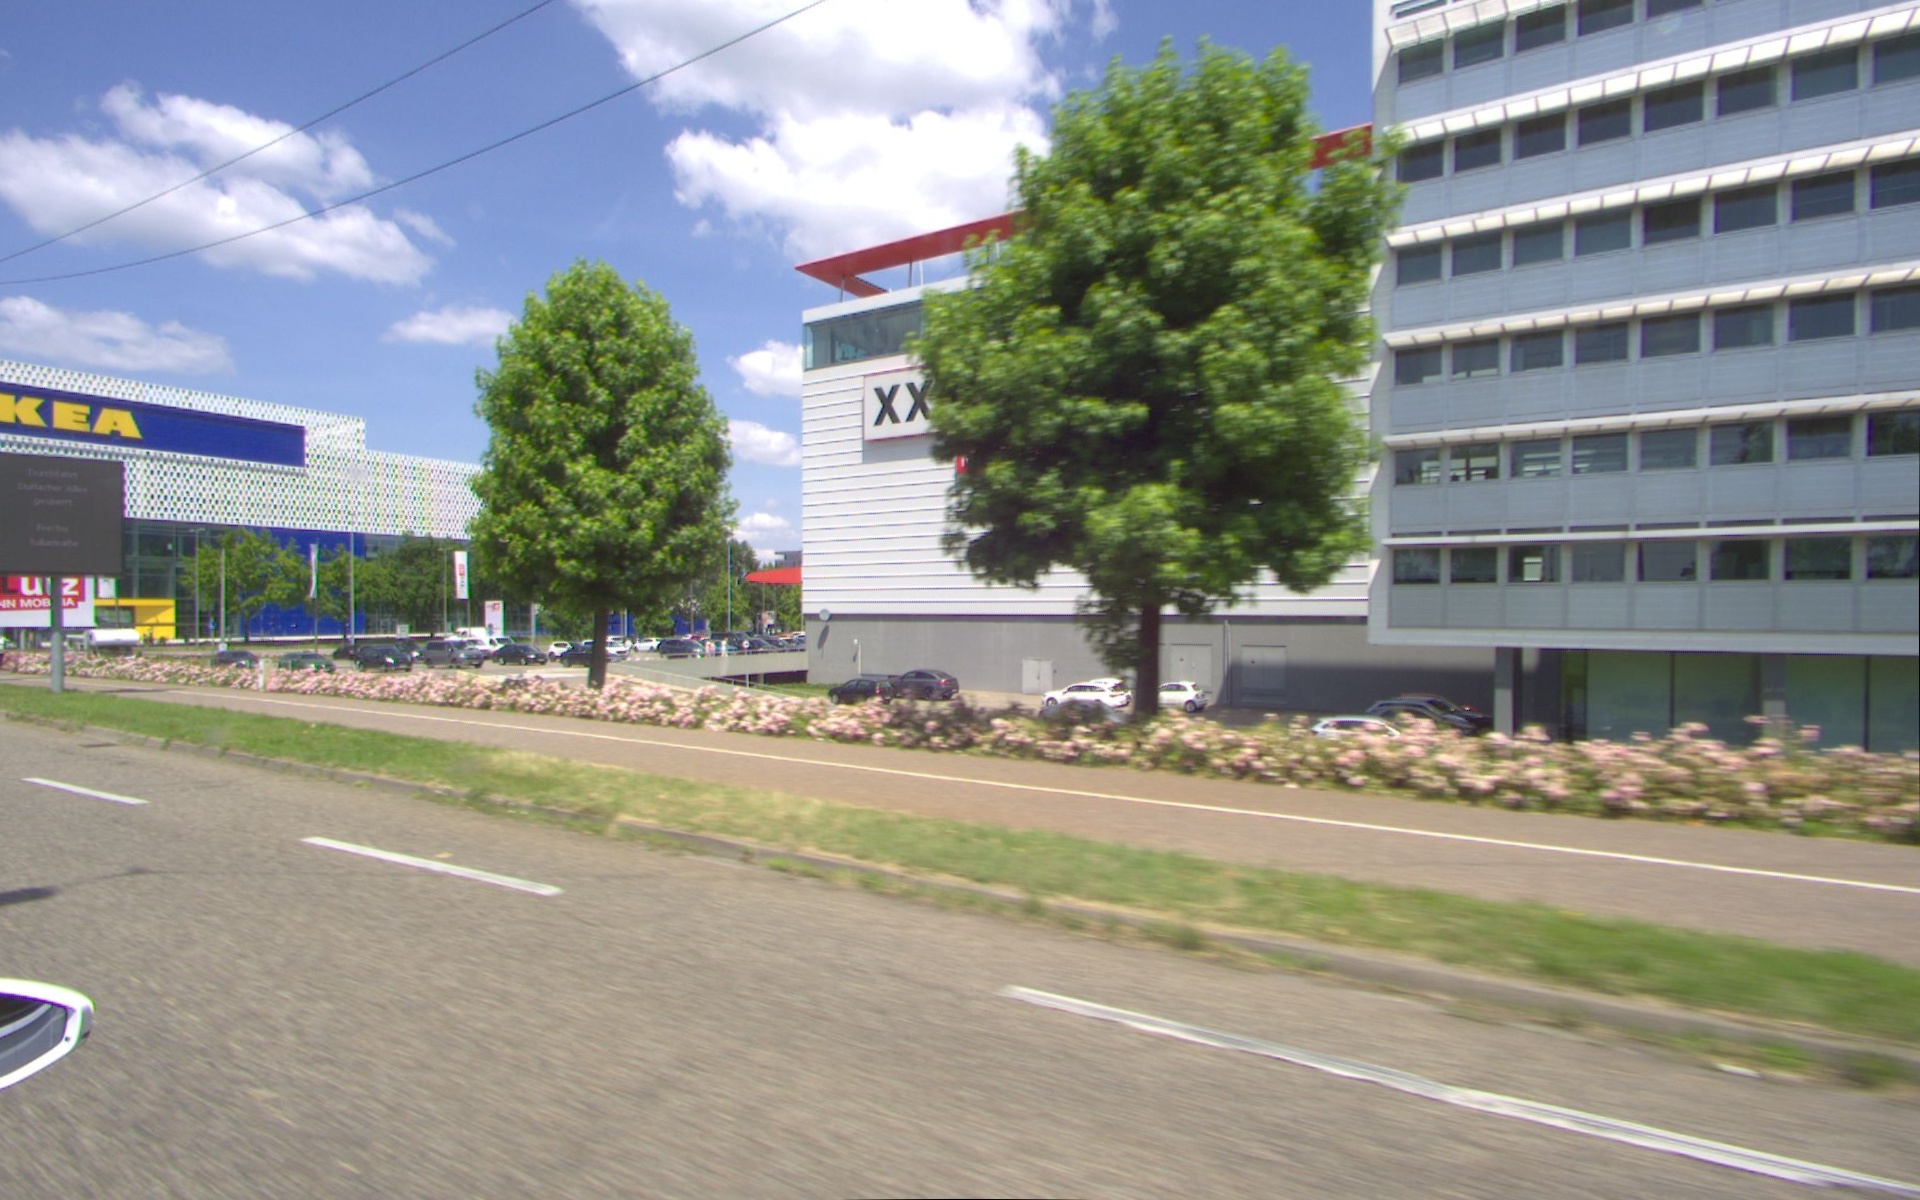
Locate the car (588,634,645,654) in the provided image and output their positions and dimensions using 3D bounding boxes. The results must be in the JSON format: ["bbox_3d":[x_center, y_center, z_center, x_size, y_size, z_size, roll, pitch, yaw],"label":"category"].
[{"bbox_3d":[-29.744,3.783,86.642,4.928,1.631,1.991,-1,-2,32],"label":"car"}]

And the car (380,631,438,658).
[{"bbox_3d":[-45.420,3.679,82.481,4.928,2.161,1.991,-1,-2,32],"label":"car"}]

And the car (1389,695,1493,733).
[{"bbox_3d":[20.938,4.922,43.613,3.942,1.403,1.641,-1,-2,31],"label":"car"}]

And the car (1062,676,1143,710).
[{"bbox_3d":[7.822,5.091,55.043,3.942,1.632,1.991,-1,-2,31],"label":"car"}]

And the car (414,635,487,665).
[{"bbox_3d":[-35.575,3.456,69.883,5.455,2.039,1.991,-1,-2,32],"label":"car"}]

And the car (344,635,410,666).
[{"bbox_3d":[-41.197,3.510,70.753,4.928,2.040,1.990,-1,0,32],"label":"car"}]

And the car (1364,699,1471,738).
[{"bbox_3d":[19.174,4.944,41.974,3.942,1.338,1.603,-1,-2,31],"label":"car"}]

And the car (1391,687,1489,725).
[{"bbox_3d":[22.144,4.856,46.233,3.942,1.465,1.991,-1,-2,31],"label":"car"}]

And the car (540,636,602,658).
[{"bbox_3d":[-30.519,3.688,78.457,4.928,1.631,1.991,-1,-2,32],"label":"car"}]

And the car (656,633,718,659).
[{"bbox_3d":[-20.098,3.385,73.611,4.270,1.803,1.991,-1,-3,32],"label":"car"}]

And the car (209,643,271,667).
[{"bbox_3d":[-51.538,3.922,71.690,4.700,1.557,1.990,-1,-1,32],"label":"car"}]

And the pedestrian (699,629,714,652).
[{"bbox_3d":[-17.657,2.841,69.770,0.725,1.577,0.740,0,-2,29],"label":"pedestrian"}]

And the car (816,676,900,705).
[{"bbox_3d":[-5.632,4.965,55.364,4.287,1.416,1.992,-1,-2,30],"label":"car"}]

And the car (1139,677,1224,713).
[{"bbox_3d":[11.671,4.980,52.827,3.942,1.632,1.991,-1,-2,31],"label":"car"}]

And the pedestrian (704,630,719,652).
[{"bbox_3d":[-17.579,2.906,70.909,0.725,1.577,0.740,0,-2,29],"label":"pedestrian"}]

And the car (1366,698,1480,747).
[{"bbox_3d":[18.470,4.830,39.983,3.942,1.632,1.991,-1,-2,31],"label":"car"}]

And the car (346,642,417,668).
[{"bbox_3d":[-37.984,3.589,65.724,4.928,1.570,1.991,-1,-2,32],"label":"car"}]

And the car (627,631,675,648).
[{"bbox_3d":[-31.764,4.070,103.039,4.928,1.631,1.991,-1,-2,32],"label":"car"}]

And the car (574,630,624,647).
[{"bbox_3d":[-37.186,3.966,103.219,4.921,1.631,1.994,-1,-2,26],"label":"car"}]

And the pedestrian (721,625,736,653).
[{"bbox_3d":[-16.197,2.732,70.018,0.725,1.893,0.740,0,-2,29],"label":"pedestrian"}]

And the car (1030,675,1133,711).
[{"bbox_3d":[6.413,4.884,53.037,5.072,1.632,1.991,-1,-2,31],"label":"car"}]

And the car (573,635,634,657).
[{"bbox_3d":[-28.757,3.699,80.649,4.928,1.671,1.991,-1,-2,32],"label":"car"}]

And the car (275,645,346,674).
[{"bbox_3d":[-39.912,3.633,61.528,4.241,1.517,1.989,-1,1,32],"label":"car"}]

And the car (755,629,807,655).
[{"bbox_3d":[-14.892,3.473,83.144,3.942,2.039,1.991,-1,-2,31],"label":"car"}]

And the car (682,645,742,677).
[{"bbox_3d":[-18.781,4.604,75.914,4.270,2.357,1.991,-1,-3,32],"label":"car"}]

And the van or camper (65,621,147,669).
[{"bbox_3d":[-57.467,2.971,67.308,7.127,3.058,2.501,-1,-2,36],"label":"van or camper"}]

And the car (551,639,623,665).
[{"bbox_3d":[-25.180,3.477,67.554,4.928,1.631,1.991,-1,-2,32],"label":"car"}]

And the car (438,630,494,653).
[{"bbox_3d":[-42.641,3.582,86.387,4.928,1.876,1.991,-1,-2,32],"label":"car"}]

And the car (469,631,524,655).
[{"bbox_3d":[-41.041,3.771,88.589,4.928,2.032,1.991,-1,-2,32],"label":"car"}]

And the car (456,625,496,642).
[{"bbox_3d":[-68.156,4.734,141.047,1.978,2.338,4.737,-1,-2,42],"label":"car"}]

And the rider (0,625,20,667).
[{"bbox_3d":[-33.524,1.615,35.097,0.609,1.476,0.668,-1,-2,31],"label":"rider"}]

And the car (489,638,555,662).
[{"bbox_3d":[-32.349,3.679,73.920,4.928,1.631,1.991,-1,-2,32],"label":"car"}]

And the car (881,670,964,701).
[{"bbox_3d":[-2.222,4.974,58.943,4.523,1.632,1.991,-1,-2,31],"label":"car"}]
